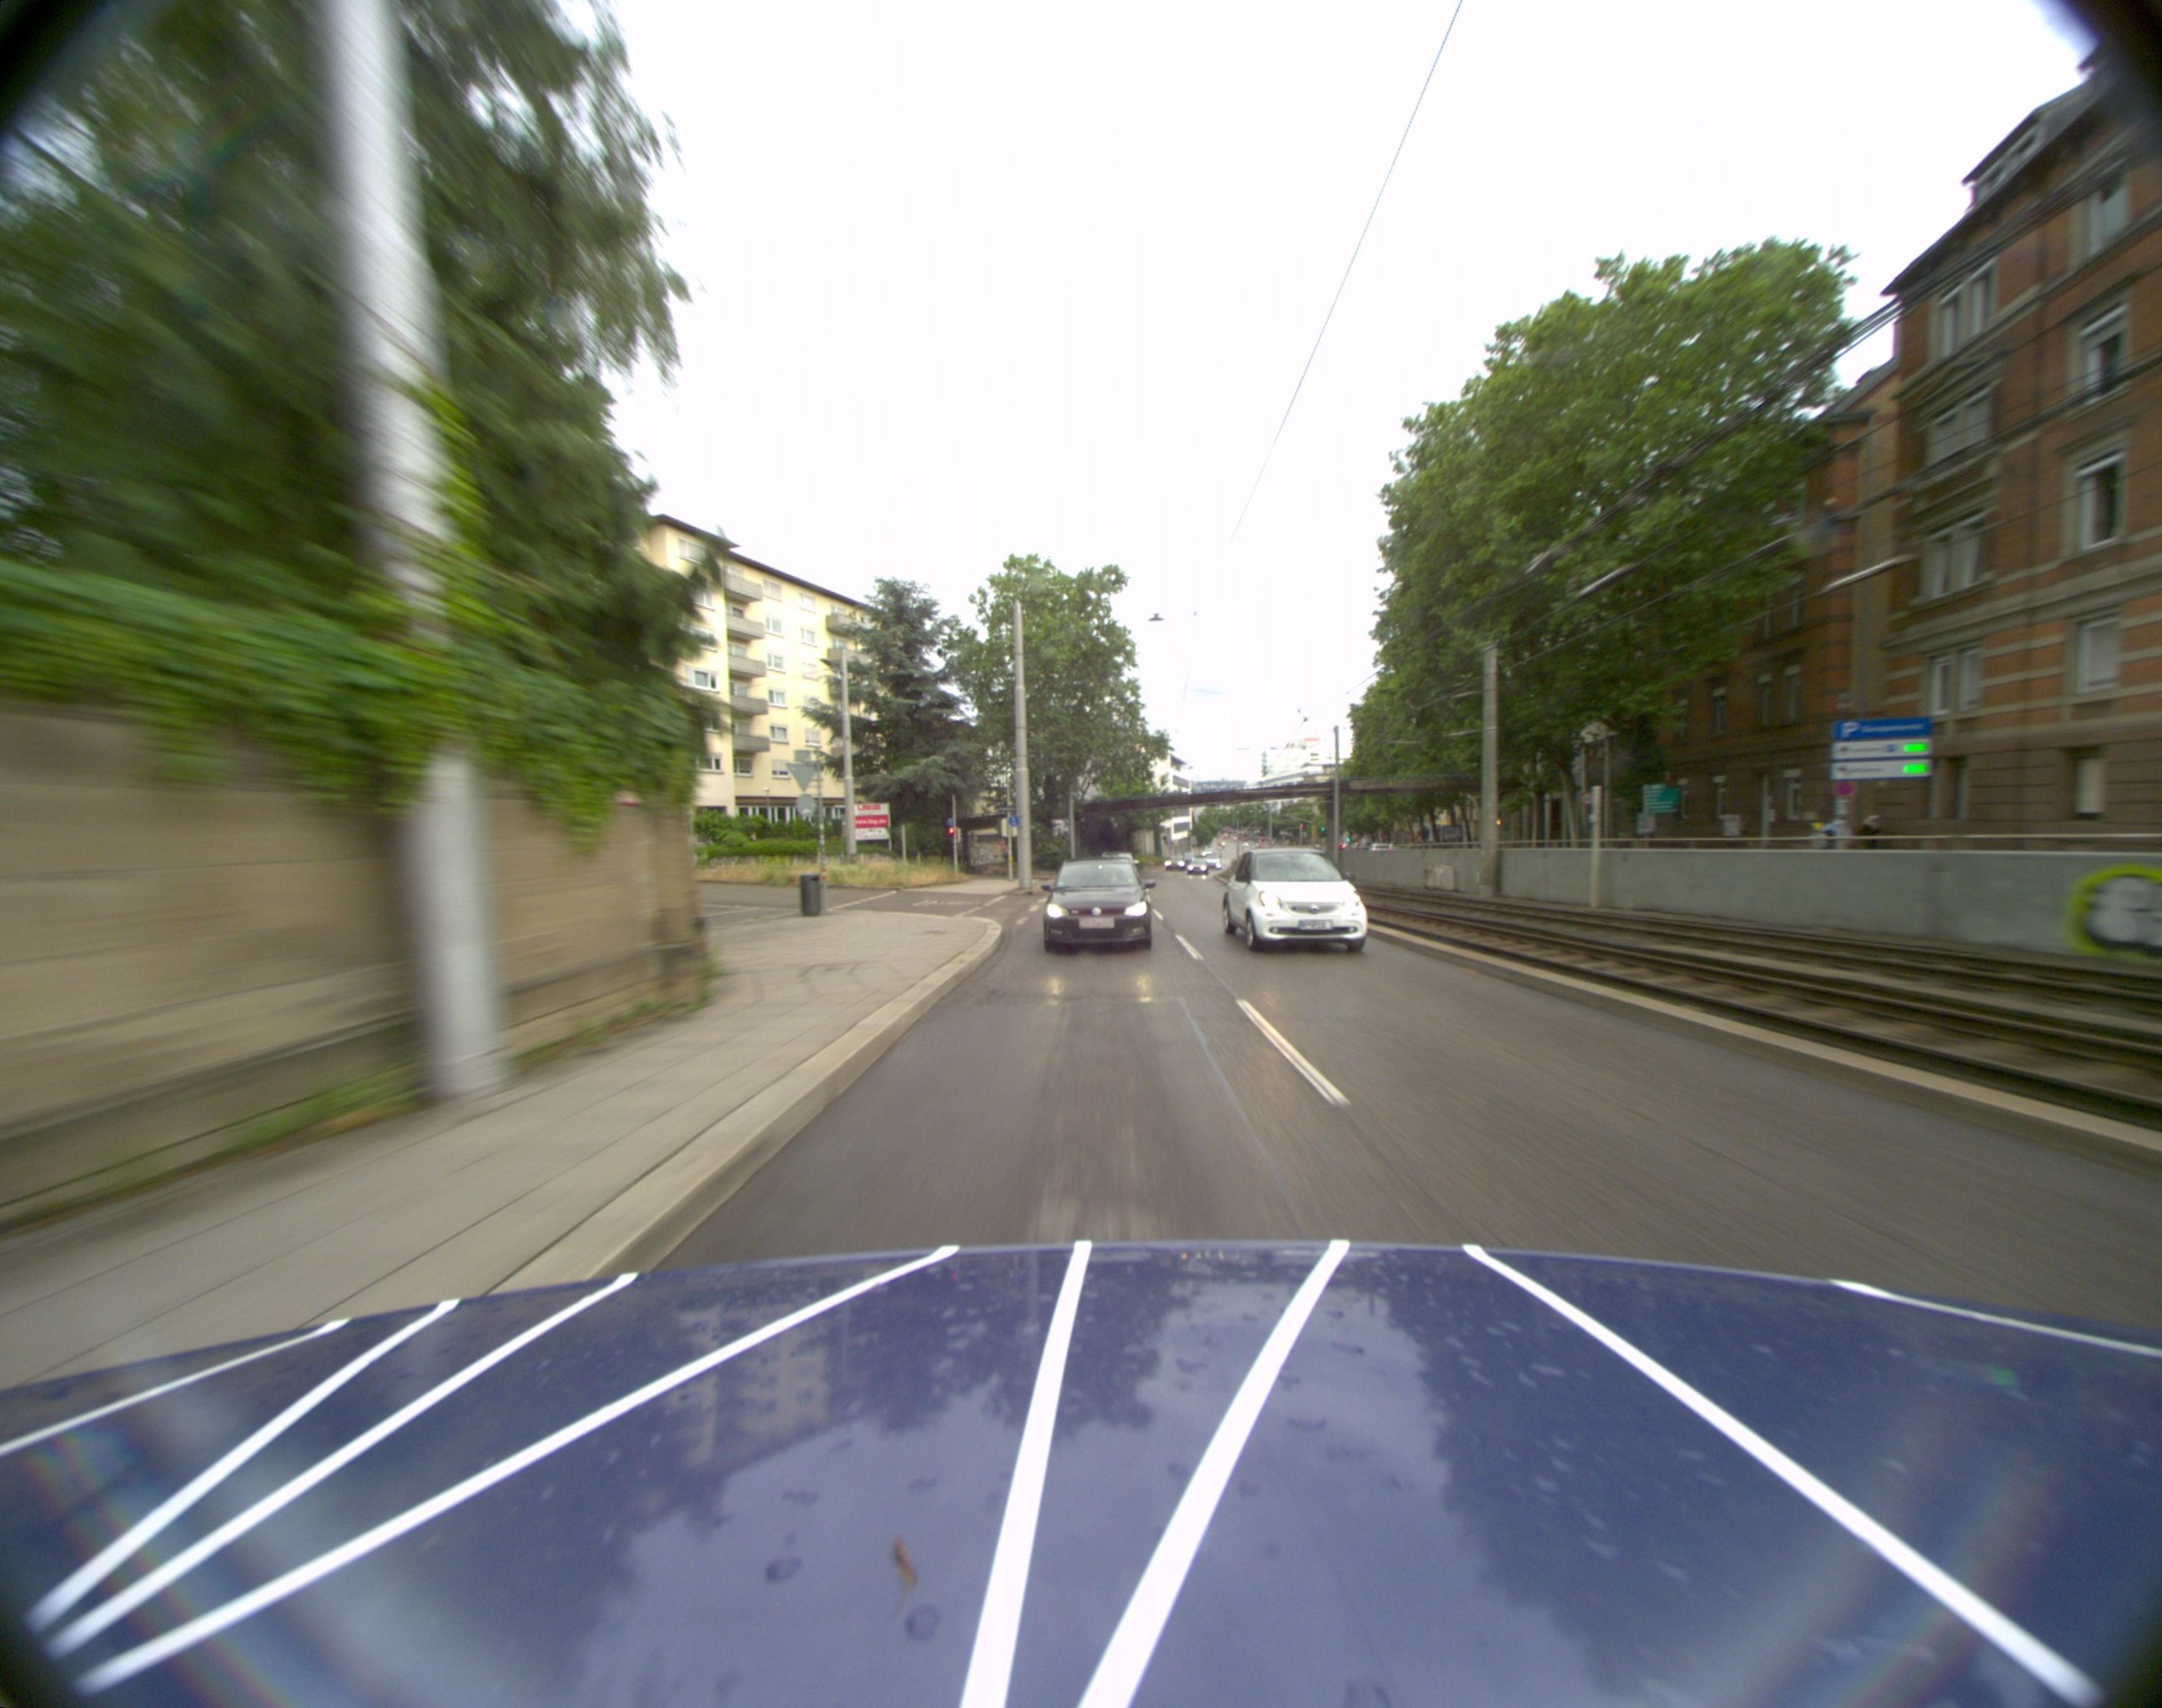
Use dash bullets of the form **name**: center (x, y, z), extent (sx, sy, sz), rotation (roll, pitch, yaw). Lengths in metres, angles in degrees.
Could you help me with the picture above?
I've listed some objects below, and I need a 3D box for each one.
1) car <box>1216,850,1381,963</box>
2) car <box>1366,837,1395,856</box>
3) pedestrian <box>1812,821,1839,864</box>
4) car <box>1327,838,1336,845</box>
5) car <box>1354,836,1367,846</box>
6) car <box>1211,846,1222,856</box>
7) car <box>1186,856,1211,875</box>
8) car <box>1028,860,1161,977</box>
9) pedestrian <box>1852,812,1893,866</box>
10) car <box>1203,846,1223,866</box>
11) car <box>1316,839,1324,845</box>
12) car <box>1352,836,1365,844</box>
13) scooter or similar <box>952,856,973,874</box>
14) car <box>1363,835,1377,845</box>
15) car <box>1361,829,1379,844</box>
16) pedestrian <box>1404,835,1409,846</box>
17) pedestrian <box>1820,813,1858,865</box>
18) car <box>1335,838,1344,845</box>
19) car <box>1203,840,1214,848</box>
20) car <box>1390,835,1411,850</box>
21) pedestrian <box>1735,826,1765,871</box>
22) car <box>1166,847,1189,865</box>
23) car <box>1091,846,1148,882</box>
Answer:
- **car**: center (3.387, 0.726, 12.612), extent (1.798, 1.528, 4.000), rotation (0, 1, 3)
- **car**: center (28.010, -0.691, 71.171), extent (1.797, 1.602, 4.363), rotation (-2, 0, 13)
- **pedestrian**: center (23.292, -0.348, 23.783), extent (0.335, 1.326, 0.504), rotation (1, 1, 7)
- **car**: center (67.104, -3.391, 203.548), extent (1.959, 1.842, 4.973), rotation (-2, 0, 17)
- **car**: center (55.236, -2.583, 150.121), extent (1.879, 1.754, 4.906), rotation (-2, 0, 16)
- **car**: center (23.078, -0.532, 129.224), extent (1.797, 1.602, 4.362), rotation (-2, 0, 11)
- **car**: center (10.585, 1.000, 68.130), extent (1.797, 1.502, 4.003), rotation (-3, 1, 14)
- **car**: center (0.282, 0.856, 11.715), extent (1.677, 1.391, 3.849), rotation (-1, 1, 3)
- **pedestrian**: center (24.461, -0.456, 23.499), extent (0.593, 1.615, 0.724), rotation (1, 1, 22)
- **car**: center (14.558, 0.177, 83.431), extent (1.797, 2.021, 4.003), rotation (-3, 1, 14)
- **car**: center (64.671, -3.135, 205.641), extent (1.797, 1.501, 4.004), rotation (-2, 0, 14)
- **car**: center (58.369, -2.934, 159.861), extent (1.880, 1.754, 4.905), rotation (-2, 0, 12)
- **scooter or similar**: center (-8.071, 0.720, 51.810), extent (0.600, 1.211, 1.922), rotation (1, 0, 16)
- **car**: center (50.024, -2.428, 131.428), extent (1.797, 1.501, 4.677), rotation (-2, 0, 16)
- **car**: center (52.988, -3.125, 139.326), extent (2.456, 2.647, 6.939), rotation (-2, 0, 16)
- **pedestrian**: center (52.881, -2.234, 123.427), extent (0.523, 1.738, 0.622), rotation (-4, 1, 23)
- **pedestrian**: center (23.936, -0.479, 24.001), extent (0.593, 1.615, 0.724), rotation (1, 1, 22)
- **car**: center (59.976, -2.887, 176.437), extent (1.797, 1.501, 4.112), rotation (-2, 0, 16)
- **car**: center (26.153, -2.041, 155.446), extent (1.797, 1.502, 4.003), rotation (-3, 1, 14)
- **car**: center (36.946, -1.295, 87.945), extent (1.796, 1.602, 4.364), rotation (-2, 0, 16)
- **pedestrian**: center (24.830, -0.202, 28.191), extent (0.593, 1.615, 0.724), rotation (1, 1, 22)
- **car**: center (9.851, 0.189, 77.705), extent (1.797, 1.657, 4.003), rotation (-3, 1, 14)
- **car**: center (1.803, 0.414, 34.695), extent (1.749, 1.433, 3.710), rotation (-3, 1, 16)
